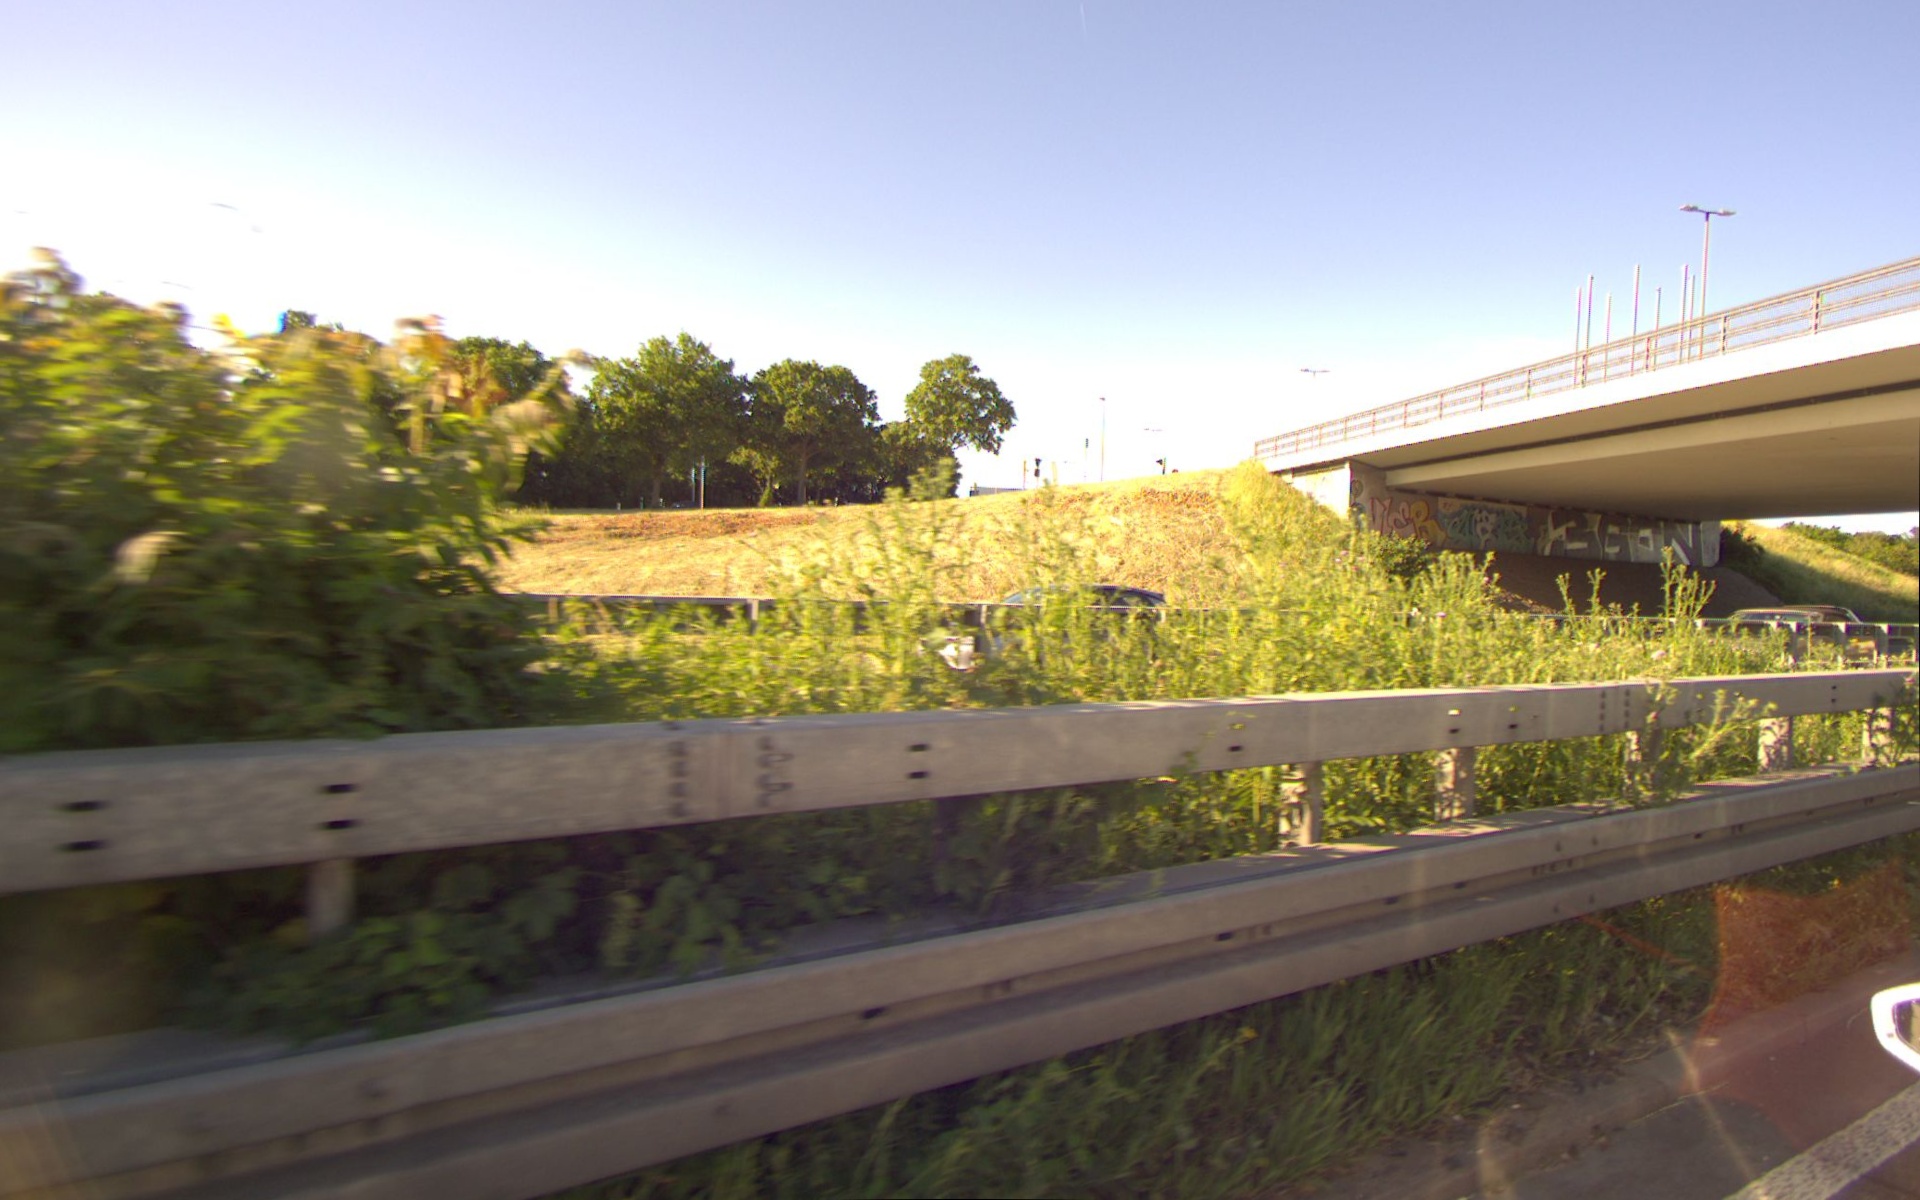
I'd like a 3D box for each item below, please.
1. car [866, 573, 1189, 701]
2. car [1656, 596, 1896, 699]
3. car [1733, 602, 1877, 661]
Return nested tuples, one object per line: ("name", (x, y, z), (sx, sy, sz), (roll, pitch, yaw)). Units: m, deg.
("car", (0.954, 0.458, 13.533), (4.063, 1.463, 1.752), (1, 2, -31))
("car", (13.565, 0.737, 16.657), (4.062, 1.463, 1.752), (1, 2, -31))
("car", (23.833, 0.874, 28.297), (4.406, 1.526, 1.739), (1, 1, -31))
